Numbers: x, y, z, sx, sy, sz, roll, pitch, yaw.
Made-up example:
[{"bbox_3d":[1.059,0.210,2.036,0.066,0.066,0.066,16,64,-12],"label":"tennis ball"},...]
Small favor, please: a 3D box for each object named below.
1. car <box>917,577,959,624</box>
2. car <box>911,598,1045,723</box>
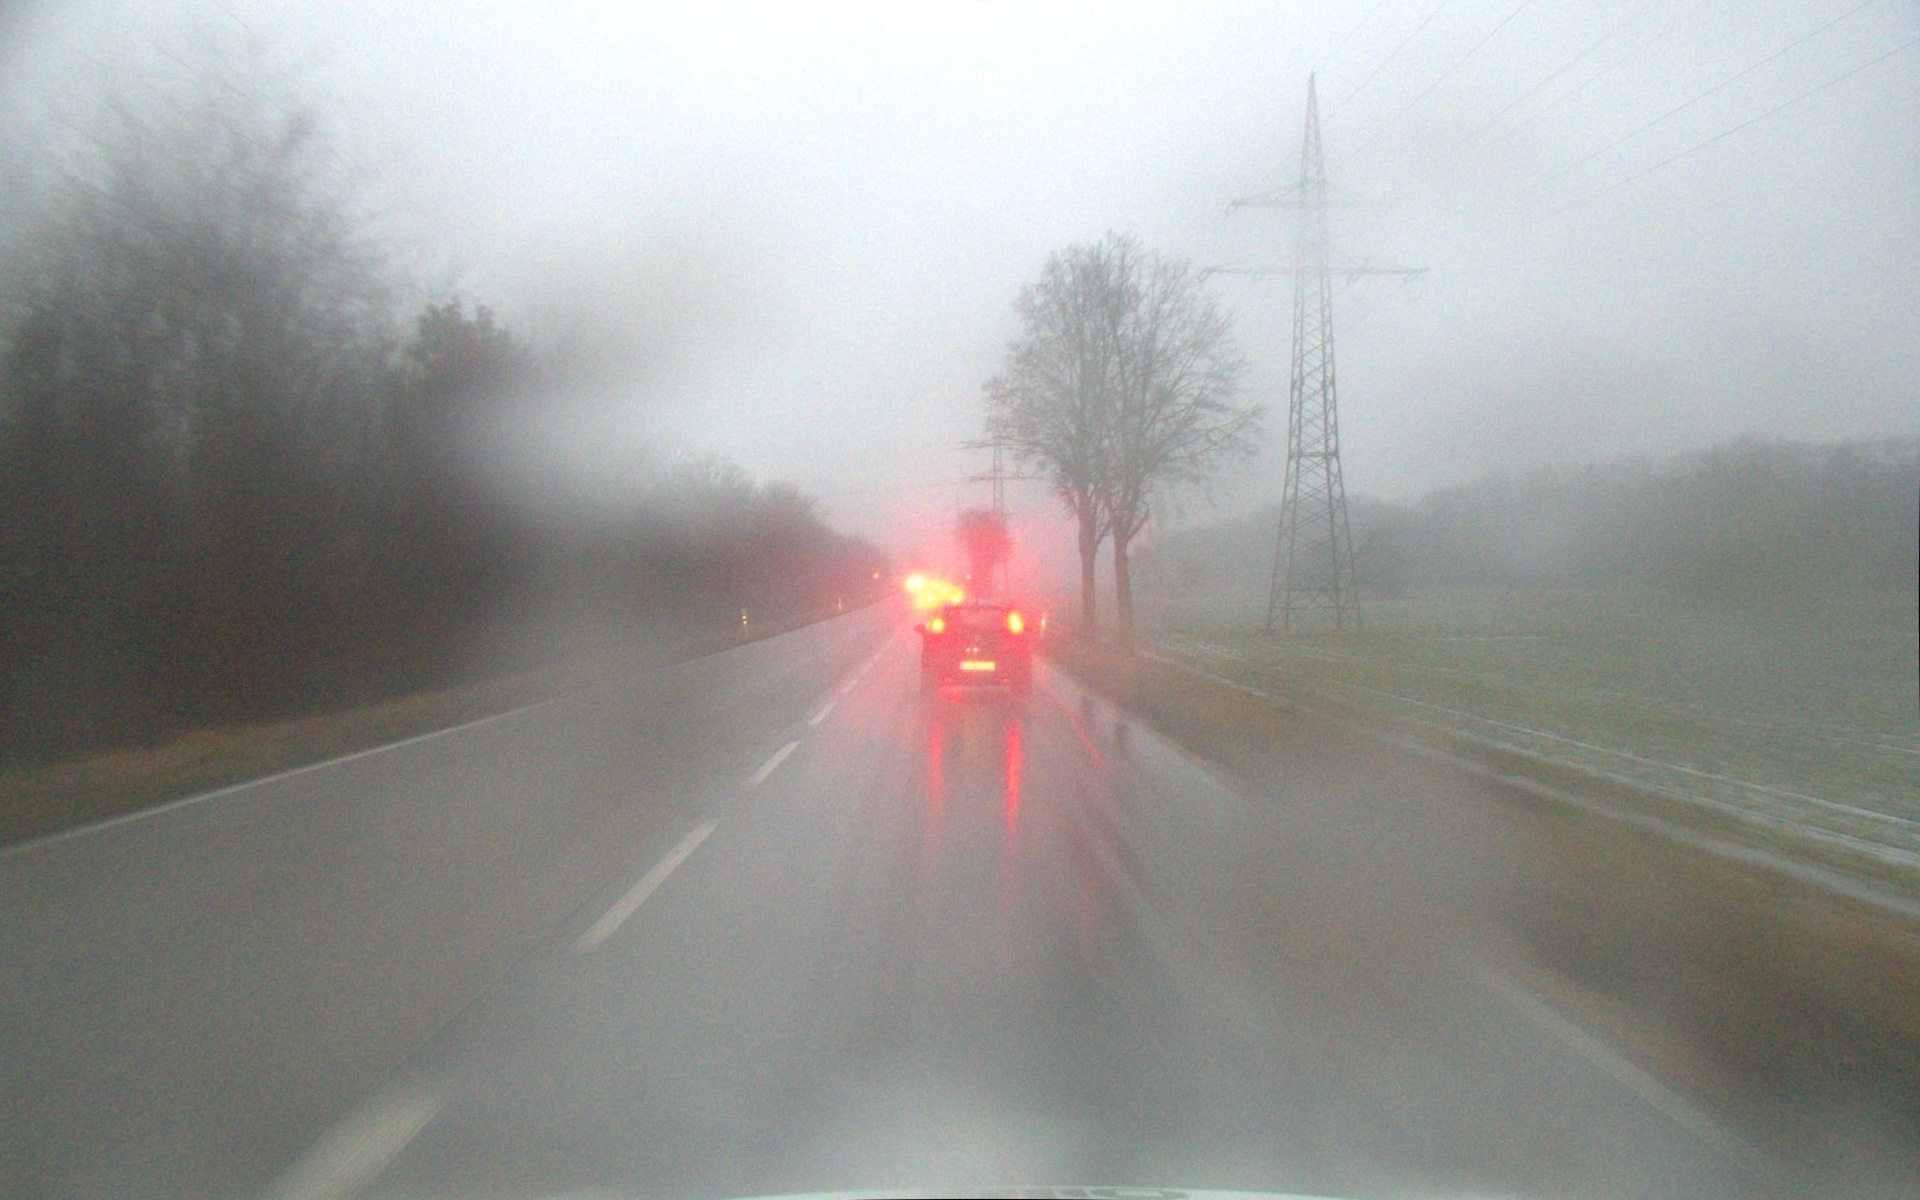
[{"bbox_3d":[-1.134,-0.012,83.178,1.953,2.048,4.000,2,3,-2],"label":"car"},{"bbox_3d":[0.238,0.883,26.226,1.953,1.782,3.999,0,0,-1],"label":"car"}]
